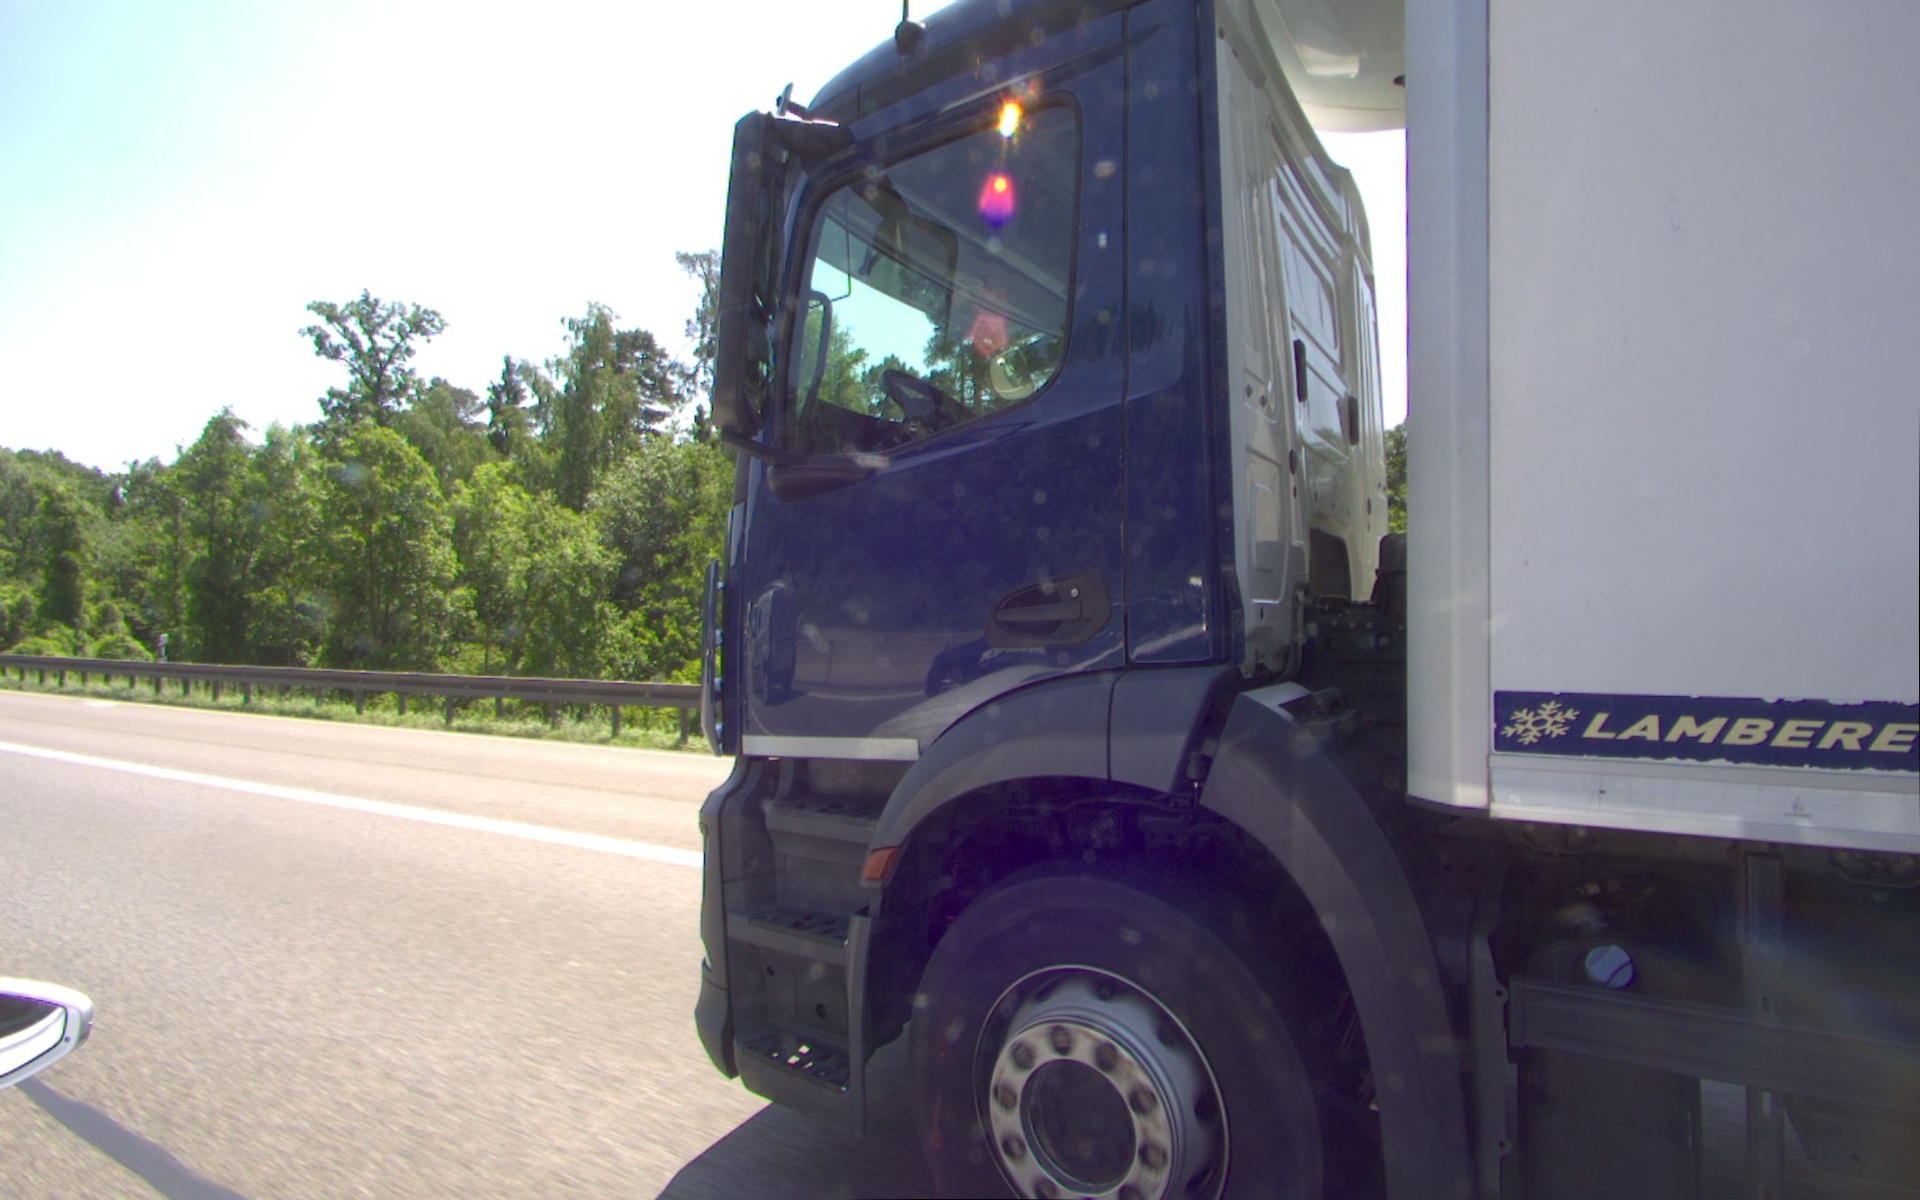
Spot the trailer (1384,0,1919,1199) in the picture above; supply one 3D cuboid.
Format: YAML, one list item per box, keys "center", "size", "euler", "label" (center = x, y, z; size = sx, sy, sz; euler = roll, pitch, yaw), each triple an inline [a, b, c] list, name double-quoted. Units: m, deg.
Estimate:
- center: [4.613, -0.083, 0.615]
  size: [7.767, 2.936, 2.552]
  euler: [-1, -1, 31]
  label: "trailer"

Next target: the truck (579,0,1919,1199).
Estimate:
- center: [1.412, 0.024, 2.588]
  size: [4.046, 2.979, 2.550]
  euler: [-2, -1, 33]
  label: "truck"
